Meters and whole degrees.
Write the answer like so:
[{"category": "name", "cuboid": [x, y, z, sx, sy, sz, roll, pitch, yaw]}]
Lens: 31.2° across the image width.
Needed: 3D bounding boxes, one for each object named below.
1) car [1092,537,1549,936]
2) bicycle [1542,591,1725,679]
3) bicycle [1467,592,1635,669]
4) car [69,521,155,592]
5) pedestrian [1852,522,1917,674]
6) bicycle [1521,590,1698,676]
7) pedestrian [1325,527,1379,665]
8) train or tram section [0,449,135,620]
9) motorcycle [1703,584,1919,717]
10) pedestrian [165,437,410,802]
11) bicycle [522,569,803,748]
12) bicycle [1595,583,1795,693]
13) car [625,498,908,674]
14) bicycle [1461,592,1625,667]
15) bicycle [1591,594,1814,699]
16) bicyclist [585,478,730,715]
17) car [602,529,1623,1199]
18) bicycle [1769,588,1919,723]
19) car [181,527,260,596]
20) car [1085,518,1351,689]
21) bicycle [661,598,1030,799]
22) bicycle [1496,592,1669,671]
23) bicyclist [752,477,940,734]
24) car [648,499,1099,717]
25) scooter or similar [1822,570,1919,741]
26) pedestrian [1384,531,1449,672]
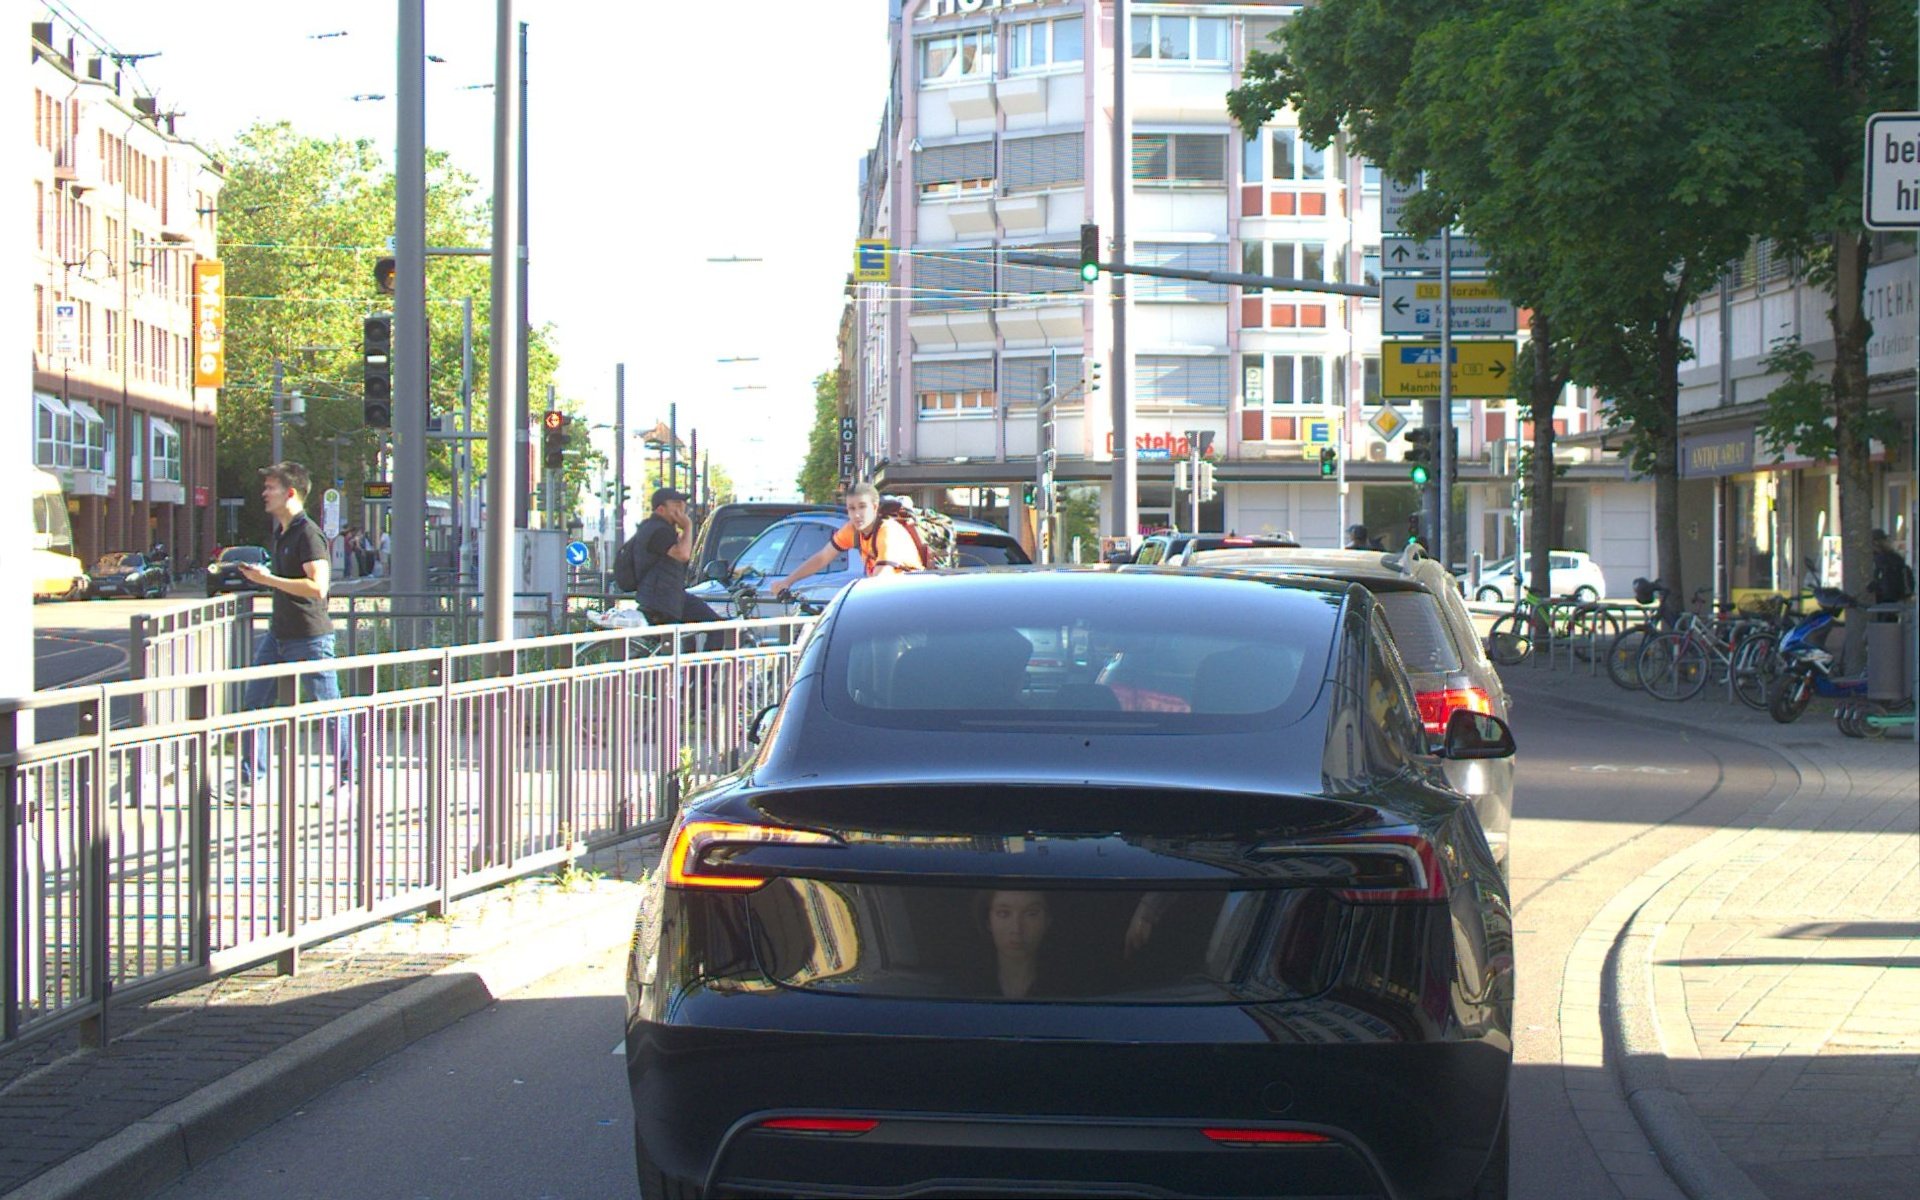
[{"category": "car", "cuboid": [1.621, 0.471, 14.870, 1.654, 1.413, 3.999, 2, 1, 8]}, {"category": "bicycle", "cuboid": [7.524, 0.387, 38.453, 1.924, 0.947, 0.526, 1, 0, -1]}, {"category": "bicycle", "cuboid": [7.157, 0.370, 41.655, 1.924, 0.887, 0.526, 1, 0, -1]}, {"category": "car", "cuboid": [-25.414, -1.314, 103.092, 1.993, 2.007, 4.001, 2, 1, -8]}, {"category": "pedestrian", "cuboid": [10.004, -0.025, 37.205, 0.531, 1.636, 0.606, 0, 0, -1]}, {"category": "bicycle", "cuboid": [7.450, 0.374, 39.467, 1.924, 0.947, 0.526, 1, 0, -1]}, {"category": "pedestrian", "cuboid": [4.847, -0.060, 42.553, 0.562, 1.677, 0.750, 2, 1, 3]}, {"category": "train or tram section", "cuboid": [-25.411, -1.604, 73.700, 15.340, 3.706, 2.644, 2, 1, -40]}, {"category": "motorcycle", "cuboid": [7.853, 0.458, 31.294, 1.991, 1.124, 0.596, 2, 0, -2]}, {"category": "pedestrian", "cuboid": [-3.292, 0.099, 16.828, 1.004, 1.736, 0.529, 2, 0, -27]}, {"category": "bicycle", "cuboid": [-1.946, 0.375, 22.379, 1.727, 1.084, 0.678, 2, 0, -10]}, {"category": "bicycle", "cuboid": [7.569, 0.384, 35.461, 1.924, 1.093, 0.555, 1, 0, -1]}, {"category": "car", "cuboid": [-1.929, -0.161, 32.947, 1.823, 1.514, 4.219, 2, 1, -15]}, {"category": "bicycle", "cuboid": [7.213, 0.362, 42.593, 1.924, 0.887, 0.526, 1, 0, -1]}, {"category": "bicycle", "cuboid": [7.239, 0.451, 33.551, 2.051, 0.979, 0.483, 1, 0, -1]}, {"category": "bicyclist", "cuboid": [-1.968, -0.024, 22.342, 0.836, 1.494, 0.560, 2, 0, -10]}, {"category": "car", "cuboid": [0.165, 0.614, 8.206, 1.848, 1.479, 3.788, 2, 1, -4]}, {"category": "bicycle", "cuboid": [7.991, 0.475, 29.296, 2.051, 1.118, 0.483, 1, 0, -1]}, {"category": "car", "cuboid": [-22.798, -1.188, 106.163, 1.993, 2.007, 4.001, 2, 1, -8]}, {"category": "car", "cuboid": [2.455, 0.009, 33.625, 1.824, 1.514, 3.650, 2, 1, -8]}, {"category": "bicycle", "cuboid": [-0.672, 0.568, 19.939, 1.972, 1.068, 0.775, 2, 0, -15]}, {"category": "bicycle", "cuboid": [7.345, 0.371, 40.588, 1.924, 0.885, 0.526, 1, 0, -1]}, {"category": "bicyclist", "cuboid": [-0.662, 0.030, 19.840, 0.907, 1.433, 0.629, 2, 0, -16]}, {"category": "car", "cuboid": [-0.764, 0.015, 26.644, 1.783, 1.514, 4.219, 2, 1, -27]}, {"category": "scooter or similar", "cuboid": [7.542, 0.434, 26.950, 1.408, 1.312, 0.696, 0, -1, -27]}, {"category": "pedestrian", "cuboid": [5.299, 0.007, 39.919, 0.629, 1.608, 0.643, 2, 1, 1]}]
